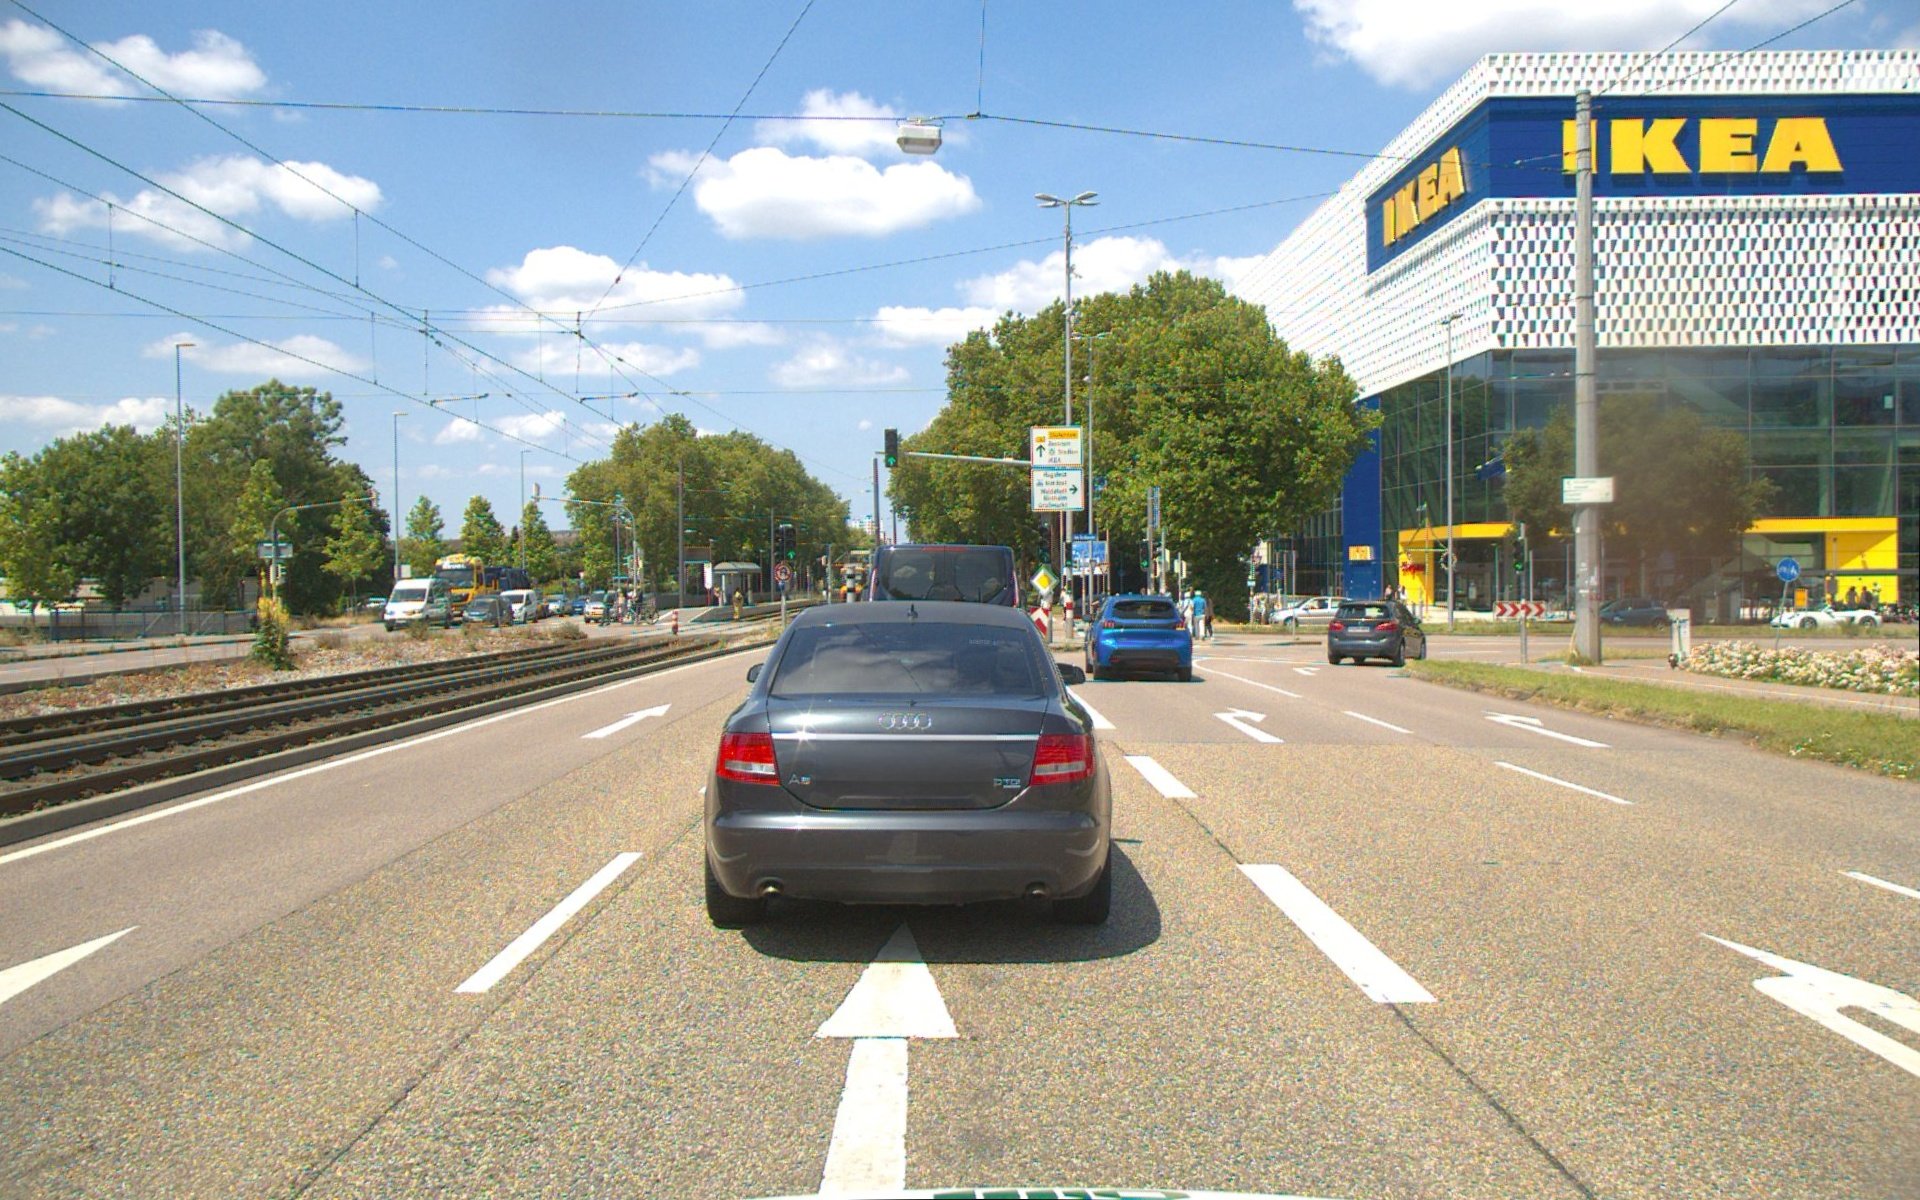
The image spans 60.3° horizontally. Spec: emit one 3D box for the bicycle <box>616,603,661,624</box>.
[{"bbox_3d":[-14.857,0.612,76.470,2.019,0.941,0.751,0,0,-11],"label":"bicycle"}]

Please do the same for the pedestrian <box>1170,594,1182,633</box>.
[{"bbox_3d":[7.419,0.461,56.685,0.365,1.326,0.365,0,0,2],"label":"pedestrian"}]

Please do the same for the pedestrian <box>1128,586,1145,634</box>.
[{"bbox_3d":[6.174,0.333,57.738,0.542,1.663,0.433,0,0,2],"label":"pedestrian"}]

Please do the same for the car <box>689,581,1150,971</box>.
[{"bbox_3d":[-0.171,0.646,8.319,1.756,1.480,4.000,0,1,-1],"label":"car"}]

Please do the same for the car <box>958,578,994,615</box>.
[{"bbox_3d":[1.026,-0.243,110.464,1.954,2.349,4.770,0,0,-5],"label":"car"}]

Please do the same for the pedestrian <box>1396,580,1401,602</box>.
[{"bbox_3d":[27.889,-0.588,105.220,0.283,1.366,0.266,0,0,-1],"label":"pedestrian"}]

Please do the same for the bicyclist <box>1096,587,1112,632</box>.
[{"bbox_3d":[5.542,0.369,63.680,0.518,1.705,1.088,0,0,-1],"label":"bicyclist"}]

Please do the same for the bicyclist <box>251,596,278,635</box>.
[{"bbox_3d":[-31.978,0.707,76.061,1.097,1.805,0.340,0,0,-6],"label":"bicyclist"}]

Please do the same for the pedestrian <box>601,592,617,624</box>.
[{"bbox_3d":[-16.407,0.370,77.258,0.671,1.468,0.572,0,0,-4],"label":"pedestrian"}]

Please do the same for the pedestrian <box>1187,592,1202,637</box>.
[{"bbox_3d":[8.612,0.526,60.712,0.493,1.663,0.449,0,0,2],"label":"pedestrian"}]

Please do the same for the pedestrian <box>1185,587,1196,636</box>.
[{"bbox_3d":[7.882,0.402,56.637,0.314,1.663,0.377,0,0,2],"label":"pedestrian"}]

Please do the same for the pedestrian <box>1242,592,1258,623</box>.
[{"bbox_3d":[15.061,0.387,85.839,0.690,1.571,0.678,1,0,18],"label":"pedestrian"}]

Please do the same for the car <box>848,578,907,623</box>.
[{"bbox_3d":[-2.954,-0.002,59.788,1.953,1.512,4.000,1,1,-1],"label":"car"}]

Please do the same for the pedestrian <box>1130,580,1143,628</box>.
[{"bbox_3d":[6.146,0.123,57.579,0.435,1.663,0.430,0,0,2],"label":"pedestrian"}]

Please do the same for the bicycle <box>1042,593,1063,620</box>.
[{"bbox_3d":[3.693,0.248,65.980,0.673,1.011,2.751,1,0,0],"label":"bicycle"}]

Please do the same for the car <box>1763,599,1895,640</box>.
[{"bbox_3d":[36.055,0.804,68.724,4.403,1.512,2.001,2,1,3],"label":"car"}]

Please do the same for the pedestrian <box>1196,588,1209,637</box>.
[{"bbox_3d":[8.297,0.437,56.645,0.389,1.663,0.371,0,0,2],"label":"pedestrian"}]

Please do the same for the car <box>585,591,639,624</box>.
[{"bbox_3d":[-18.456,0.373,87.990,1.784,1.699,4.462,1,0,2],"label":"car"}]

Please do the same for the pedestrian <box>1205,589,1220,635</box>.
[{"bbox_3d":[9.264,0.431,60.679,0.510,1.699,0.494,0,0,2],"label":"pedestrian"}]

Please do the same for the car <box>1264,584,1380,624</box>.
[{"bbox_3d":[14.970,0.145,68.531,4.403,1.512,2.001,2,1,3],"label":"car"}]

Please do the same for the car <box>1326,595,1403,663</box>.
[{"bbox_3d":[9.931,0.676,40.822,1.723,1.553,4.103,0,0,12],"label":"car"}]

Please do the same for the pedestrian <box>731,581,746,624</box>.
[{"bbox_3d":[-10.618,0.125,79.442,0.672,2.049,0.572,0,0,-5],"label":"pedestrian"}]

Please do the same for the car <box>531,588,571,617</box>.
[{"bbox_3d":[-27.894,0.179,112.972,1.781,1.916,3.999,0,0,-1],"label":"car"}]

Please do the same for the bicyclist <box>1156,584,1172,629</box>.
[{"bbox_3d":[8.108,0.251,65.712,0.517,1.795,0.828,0,0,13],"label":"bicyclist"}]

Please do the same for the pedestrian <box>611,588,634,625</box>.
[{"bbox_3d":[-16.322,0.315,80.056,0.806,1.750,0.775,0,0,21],"label":"pedestrian"}]

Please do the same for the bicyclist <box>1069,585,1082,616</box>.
[{"bbox_3d":[4.525,0.014,64.830,0.461,1.214,0.791,0,0,2],"label":"bicyclist"}]

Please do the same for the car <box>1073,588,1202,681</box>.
[{"bbox_3d":[3.103,0.564,29.579,1.800,1.480,4.000,1,1,-1],"label":"car"}]

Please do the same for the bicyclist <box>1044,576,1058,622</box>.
[{"bbox_3d":[3.618,-0.053,65.821,0.518,1.820,1.088,0,0,0],"label":"bicyclist"}]

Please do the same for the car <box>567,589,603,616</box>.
[{"bbox_3d":[-27.798,0.164,122.621,1.781,1.916,3.999,0,0,-1],"label":"car"}]

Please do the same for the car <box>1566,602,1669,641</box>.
[{"bbox_3d":[28.507,0.919,71.786,3.710,1.512,2.001,2,1,3],"label":"car"}]

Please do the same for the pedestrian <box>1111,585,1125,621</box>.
[{"bbox_3d":[6.876,0.138,71.940,0.483,1.546,0.707,1,0,17],"label":"pedestrian"}]

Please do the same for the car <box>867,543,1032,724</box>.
[{"bbox_3d":[-0.150,0.364,20.069,1.799,1.984,3.999,0,0,-1],"label":"car"}]

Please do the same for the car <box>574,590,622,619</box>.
[{"bbox_3d":[-22.202,0.262,101.533,1.784,1.699,4.462,1,0,2],"label":"car"}]

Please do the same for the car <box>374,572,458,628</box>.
[{"bbox_3d":[-27.589,-0.037,84.116,2.198,2.634,6.233,-2,1,-2],"label":"car"}]

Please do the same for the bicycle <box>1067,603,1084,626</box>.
[{"bbox_3d":[4.519,0.564,64.896,0.538,0.892,1.697,1,0,0],"label":"bicycle"}]

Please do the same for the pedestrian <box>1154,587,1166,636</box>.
[{"bbox_3d":[6.742,0.384,55.811,0.373,1.663,0.377,0,0,2],"label":"pedestrian"}]

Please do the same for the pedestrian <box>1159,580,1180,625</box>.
[{"bbox_3d":[8.900,0.105,70.280,0.671,1.878,0.706,1,0,25],"label":"pedestrian"}]

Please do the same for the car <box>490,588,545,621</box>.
[{"bbox_3d":[-24.459,0.233,91.493,1.785,1.699,4.461,1,0,1],"label":"car"}]

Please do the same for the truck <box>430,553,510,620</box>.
[{"bbox_3d":[-27.731,-0.764,93.831,2.711,3.631,6.438,0,0,-1],"label":"truck"}]

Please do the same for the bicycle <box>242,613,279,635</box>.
[{"bbox_3d":[-32.161,1.102,76.066,1.461,1.004,0.485,0,0,-5],"label":"bicycle"}]

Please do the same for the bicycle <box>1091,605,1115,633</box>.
[{"bbox_3d":[5.487,0.717,63.683,0.673,1.023,2.751,1,0,0],"label":"bicycle"}]

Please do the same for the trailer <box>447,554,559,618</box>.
[{"bbox_3d":[-27.857,-0.831,101.695,2.711,3.580,15.875,0,0,-1],"label":"trailer"}]

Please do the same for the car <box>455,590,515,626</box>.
[{"bbox_3d":[-24.251,0.389,84.648,1.785,1.699,4.461,1,0,-1],"label":"car"}]
